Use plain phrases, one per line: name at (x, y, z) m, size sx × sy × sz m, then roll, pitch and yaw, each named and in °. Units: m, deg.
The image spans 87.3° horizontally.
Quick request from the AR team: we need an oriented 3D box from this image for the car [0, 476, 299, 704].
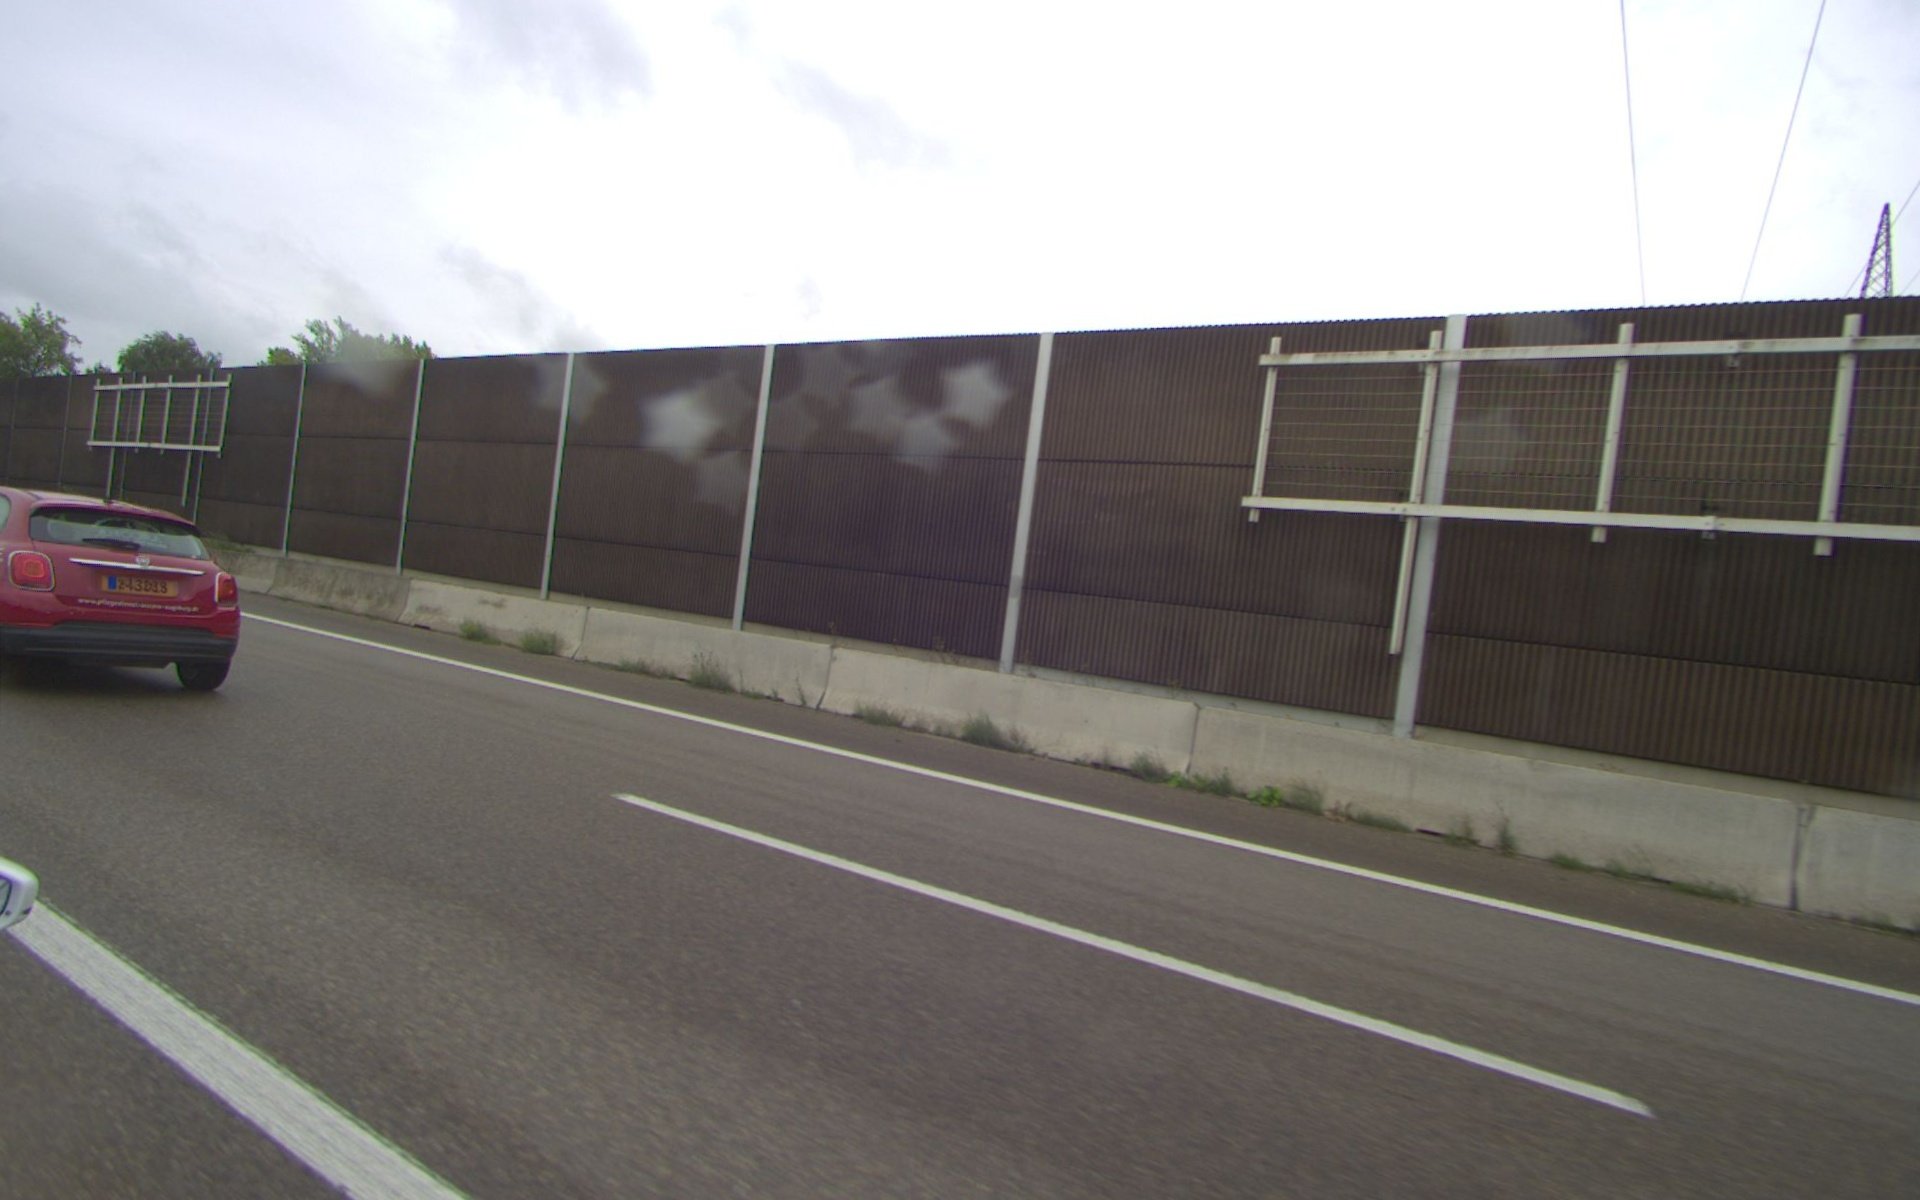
car at (-8.143, -0.188, 9.213) m, size 3.935 × 1.667 × 1.959 m, roll 7°, pitch 0°, yaw 33°
